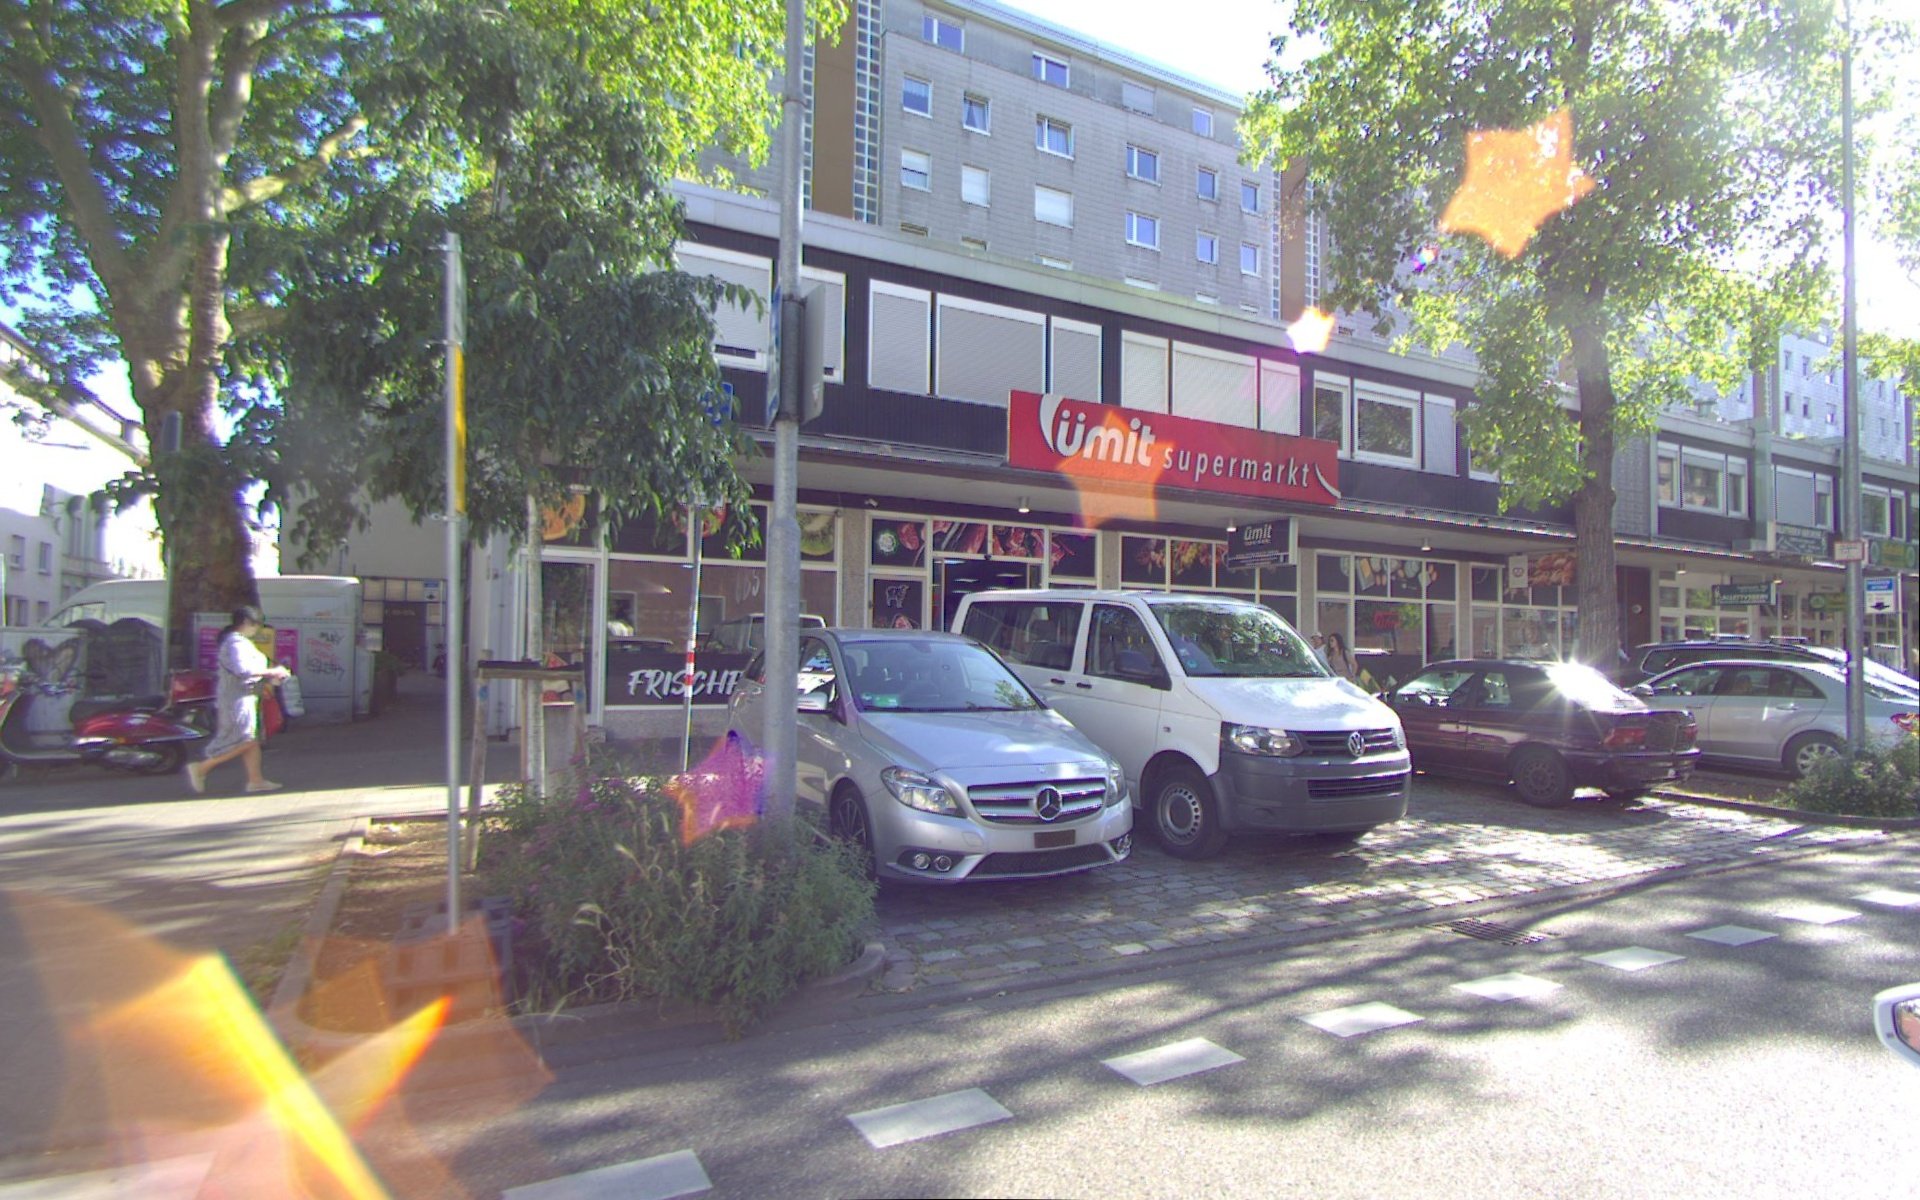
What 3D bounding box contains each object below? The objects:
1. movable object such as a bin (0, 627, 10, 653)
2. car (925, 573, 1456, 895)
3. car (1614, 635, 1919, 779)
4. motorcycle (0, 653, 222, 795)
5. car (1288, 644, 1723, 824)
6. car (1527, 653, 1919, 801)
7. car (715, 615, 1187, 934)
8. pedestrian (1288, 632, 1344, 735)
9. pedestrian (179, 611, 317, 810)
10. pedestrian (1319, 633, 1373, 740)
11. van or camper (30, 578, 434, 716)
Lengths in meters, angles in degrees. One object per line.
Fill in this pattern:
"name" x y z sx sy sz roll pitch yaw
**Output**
"movable object such as a bin" -39.630 1.624 41.229 0.709 1.015 0.542 5 -4 -29
"car" 1.629 0.906 8.911 1.936 2.033 4.709 2 -2 -29
"car" 12.422 1.450 14.614 1.814 1.828 4.609 2 -3 -28
"motorcycle" -8.031 1.109 9.239 1.897 1.195 0.665 0 -2 -28
"car" 5.805 1.317 11.229 1.696 1.513 4.014 2 -2 -28
"car" 10.227 1.512 13.193 1.805 1.513 4.638 2 -3 -28
"car" -0.404 1.003 7.475 1.737 1.633 4.273 2 -3 -28
"pedestrian" 5.949 1.381 16.803 0.625 1.672 0.627 2 -3 -27
"pedestrian" -6.139 0.898 8.661 0.834 1.594 0.841 0 0 44
"pedestrian" 6.217 1.380 16.185 0.625 1.672 0.528 2 -3 -27
"van or camper" -15.387 0.918 21.907 6.838 2.608 1.987 -1 -2 -27
